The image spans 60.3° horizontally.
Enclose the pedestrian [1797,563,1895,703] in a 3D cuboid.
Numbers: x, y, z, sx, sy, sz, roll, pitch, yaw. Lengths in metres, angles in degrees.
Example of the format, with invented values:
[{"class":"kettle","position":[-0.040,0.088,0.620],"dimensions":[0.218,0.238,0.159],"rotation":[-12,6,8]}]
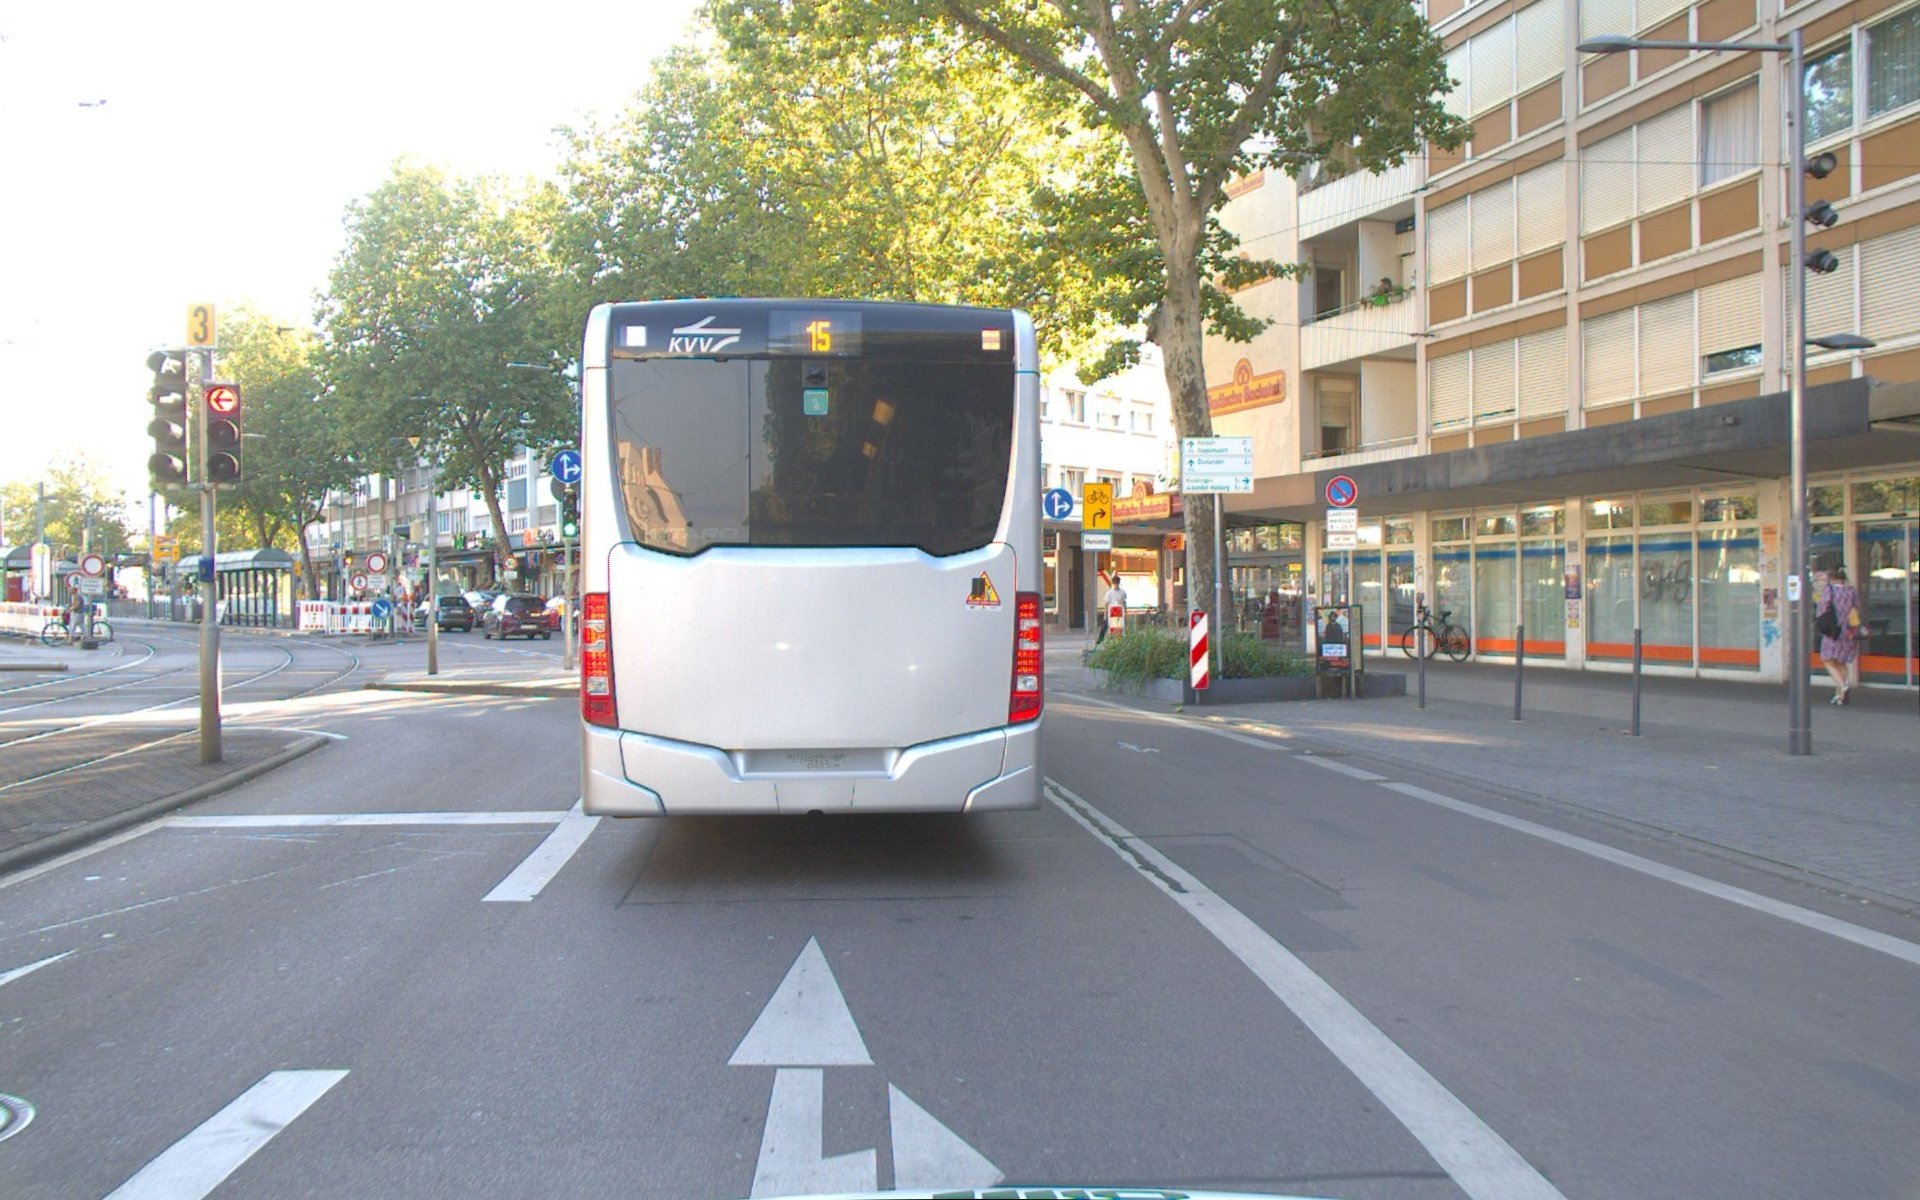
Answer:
[{"class":"pedestrian","position":[10.295,0.371,19.243],"dimensions":[0.628,1.579,0.805],"rotation":[0,0,-12]}]

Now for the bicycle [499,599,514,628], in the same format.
[{"class":"bicycle","position":[-19.685,0.575,71.763],"dimensions":[0.499,1.232,2.081],"rotation":[0,0,-19]}]

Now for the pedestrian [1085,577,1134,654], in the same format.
[{"class":"pedestrian","position":[3.479,0.342,38.489],"dimensions":[0.824,1.742,0.788],"rotation":[-3,1,-22]}]

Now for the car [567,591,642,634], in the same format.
[{"class":"car","position":[-13.839,0.467,64.313],"dimensions":[1.648,1.542,3.371],"rotation":[-4,3,-34]}]

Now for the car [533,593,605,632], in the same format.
[{"class":"car","position":[-16.022,0.489,67.695],"dimensions":[1.650,1.419,3.368],"rotation":[-4,3,-36]}]

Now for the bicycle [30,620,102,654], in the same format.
[{"class":"bicycle","position":[-26.624,1.087,49.289],"dimensions":[1.829,0.959,0.457],"rotation":[-1,0,-40]}]

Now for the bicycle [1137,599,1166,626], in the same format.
[{"class":"bicycle","position":[7.599,0.496,65.471],"dimensions":[0.289,1.059,1.711],"rotation":[-3,-2,36]}]

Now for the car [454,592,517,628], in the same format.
[{"class":"car","position":[-21.495,0.424,74.917],"dimensions":[1.649,1.494,3.369],"rotation":[-4,3,-36]}]

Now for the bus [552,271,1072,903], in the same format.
[{"class":"bus","position":[-1.157,-0.069,13.471],"dimensions":[2.606,3.153,10.205],"rotation":[0,0,-5]}]

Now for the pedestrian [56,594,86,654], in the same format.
[{"class":"pedestrian","position":[-26.313,0.708,48.967],"dimensions":[0.715,1.755,0.393],"rotation":[-1,0,-40]}]

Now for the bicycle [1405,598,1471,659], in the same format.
[{"class":"bicycle","position":[9.073,0.532,31.415],"dimensions":[0.430,1.111,1.455],"rotation":[-3,1,-17]}]

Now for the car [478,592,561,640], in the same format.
[{"class":"car","position":[-14.232,0.497,53.303],"dimensions":[1.736,1.489,3.962],"rotation":[-1,0,-29]}]
